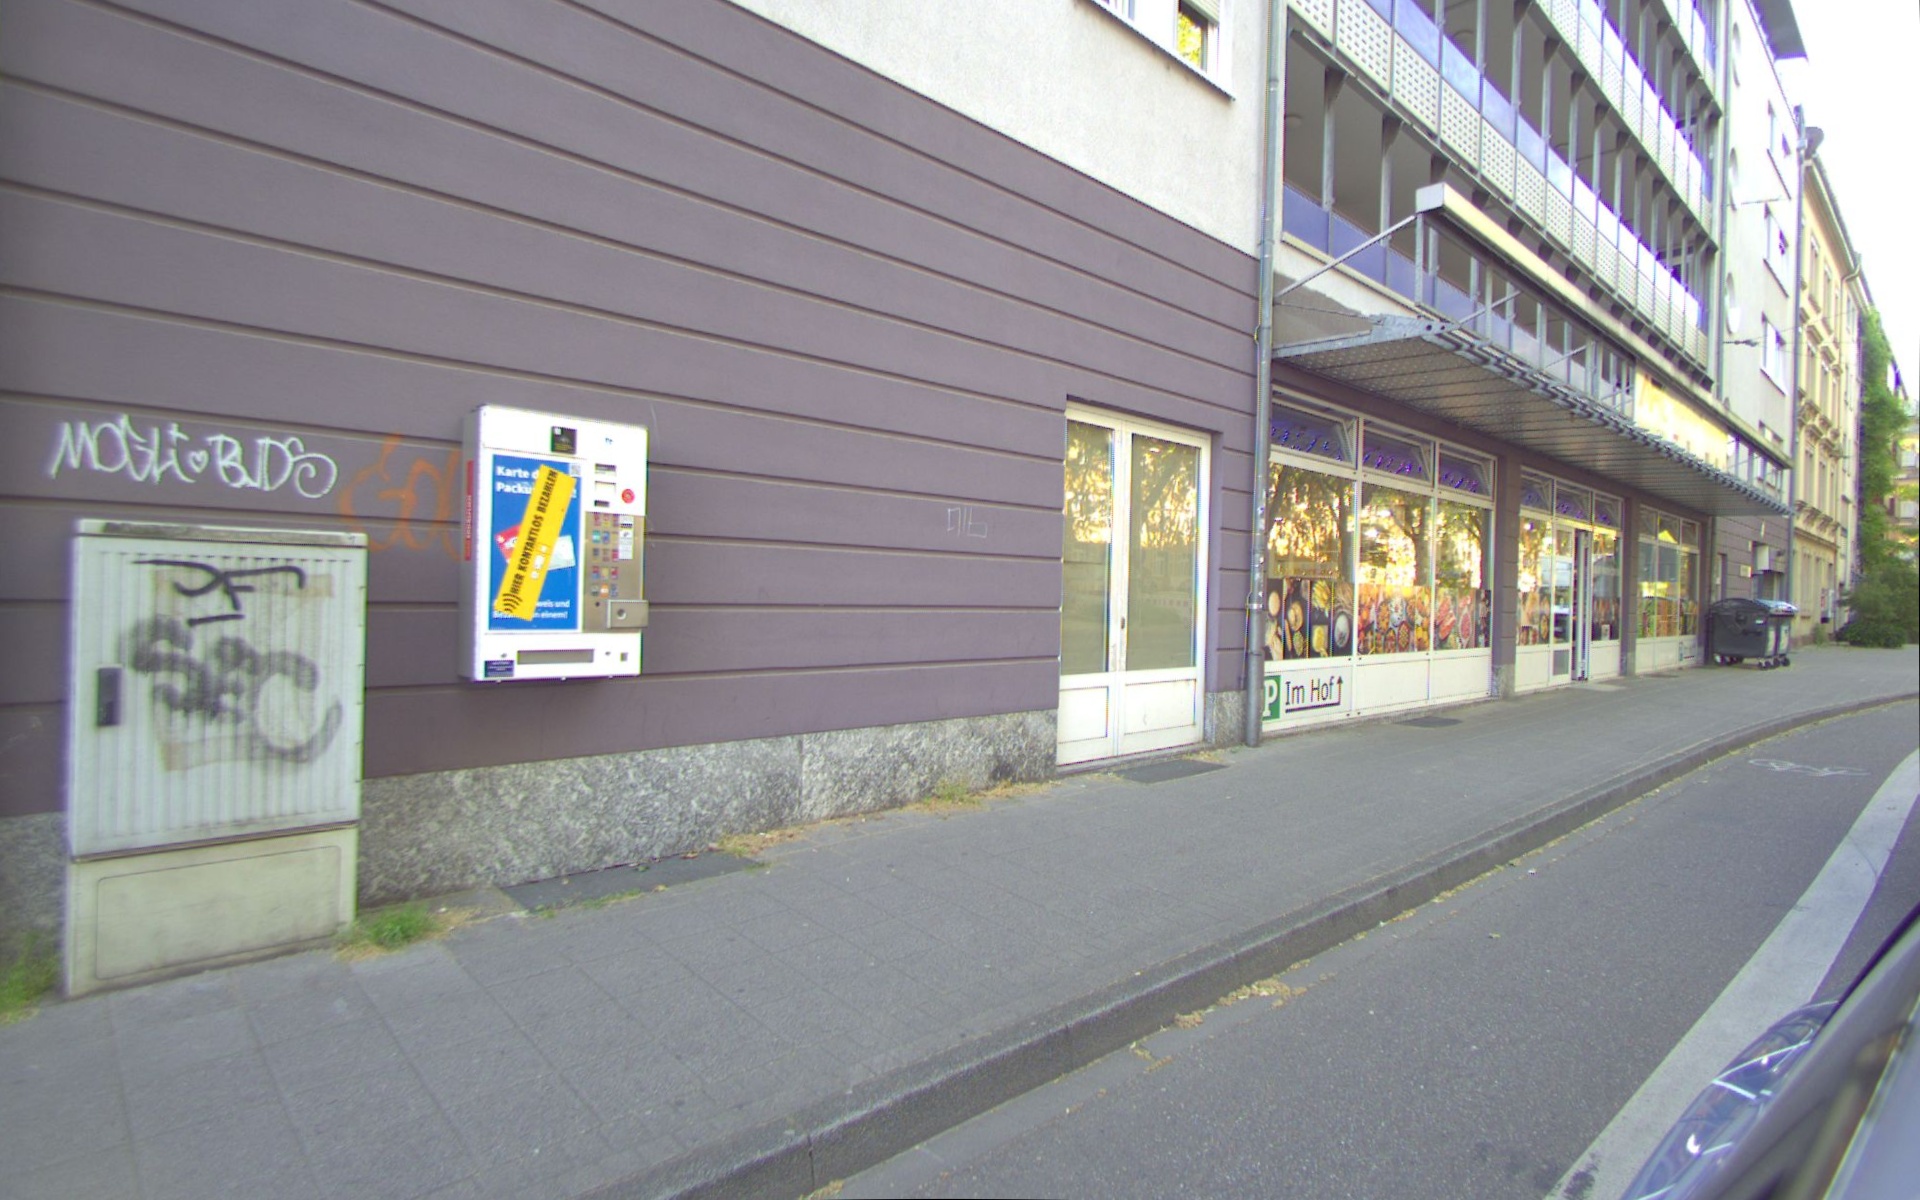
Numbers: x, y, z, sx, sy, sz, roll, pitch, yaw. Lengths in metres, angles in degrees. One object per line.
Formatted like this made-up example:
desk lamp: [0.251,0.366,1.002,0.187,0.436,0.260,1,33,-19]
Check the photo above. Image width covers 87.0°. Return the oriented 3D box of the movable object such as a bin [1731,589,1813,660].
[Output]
movable object such as a bin: [17.786,0.516,22.169,1.282,1.464,1.123,1,1,-38]

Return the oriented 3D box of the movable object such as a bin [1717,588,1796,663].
movable object such as a bin: [16.437,0.495,20.881,1.274,1.465,1.068,1,1,-42]
